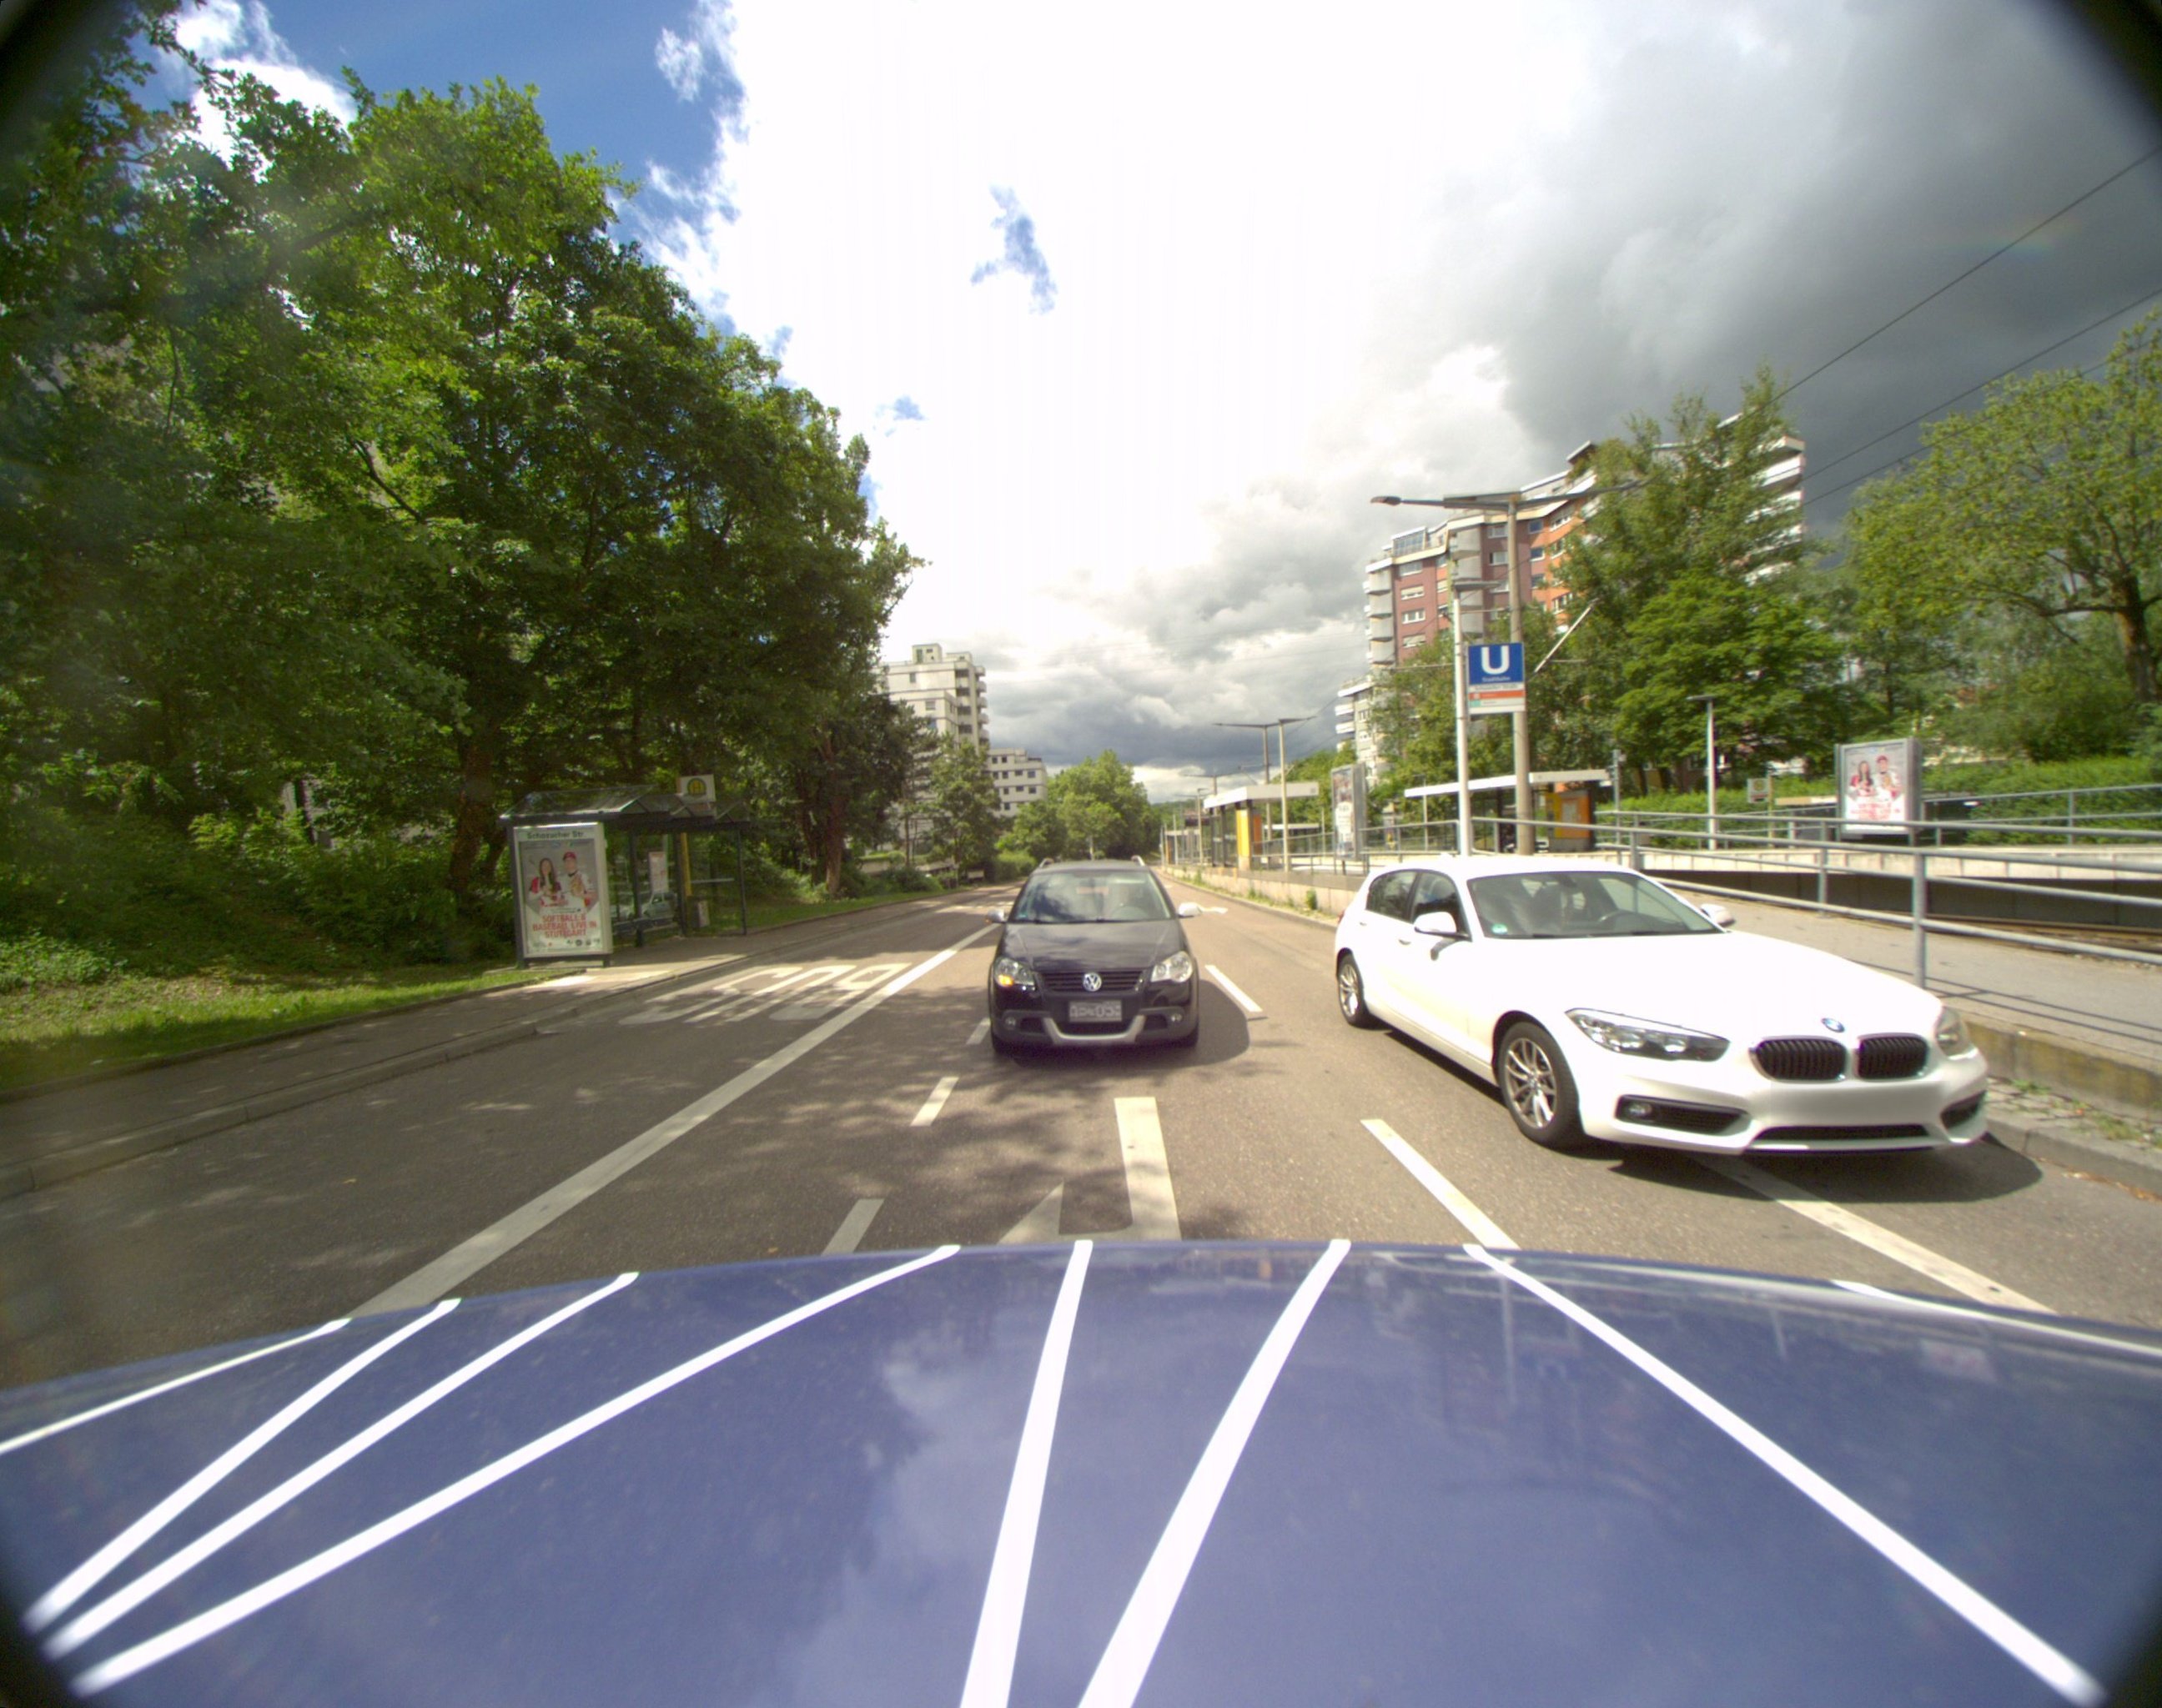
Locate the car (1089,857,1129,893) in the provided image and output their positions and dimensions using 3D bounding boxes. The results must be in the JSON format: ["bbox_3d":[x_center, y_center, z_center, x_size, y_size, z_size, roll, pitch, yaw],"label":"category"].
[{"bbox_3d":[1.292,0.936,35.933,1.732,1.505,4.000,-2,1,1],"label":"car"}]

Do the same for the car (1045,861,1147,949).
[{"bbox_3d":[0.300,0.917,15.343,1.732,1.453,4.000,-2,0,1],"label":"car"}]

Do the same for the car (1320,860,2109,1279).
[{"bbox_3d":[3.023,0.837,4.869,1.732,1.453,4.000,-2,1,1],"label":"car"}]

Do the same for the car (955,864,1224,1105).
[{"bbox_3d":[0.088,0.898,7.071,1.732,1.501,4.000,-2,0,1],"label":"car"}]

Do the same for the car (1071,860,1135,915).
[{"bbox_3d":[0.728,0.947,23.193,1.732,1.452,4.001,-2,0,3],"label":"car"}]
